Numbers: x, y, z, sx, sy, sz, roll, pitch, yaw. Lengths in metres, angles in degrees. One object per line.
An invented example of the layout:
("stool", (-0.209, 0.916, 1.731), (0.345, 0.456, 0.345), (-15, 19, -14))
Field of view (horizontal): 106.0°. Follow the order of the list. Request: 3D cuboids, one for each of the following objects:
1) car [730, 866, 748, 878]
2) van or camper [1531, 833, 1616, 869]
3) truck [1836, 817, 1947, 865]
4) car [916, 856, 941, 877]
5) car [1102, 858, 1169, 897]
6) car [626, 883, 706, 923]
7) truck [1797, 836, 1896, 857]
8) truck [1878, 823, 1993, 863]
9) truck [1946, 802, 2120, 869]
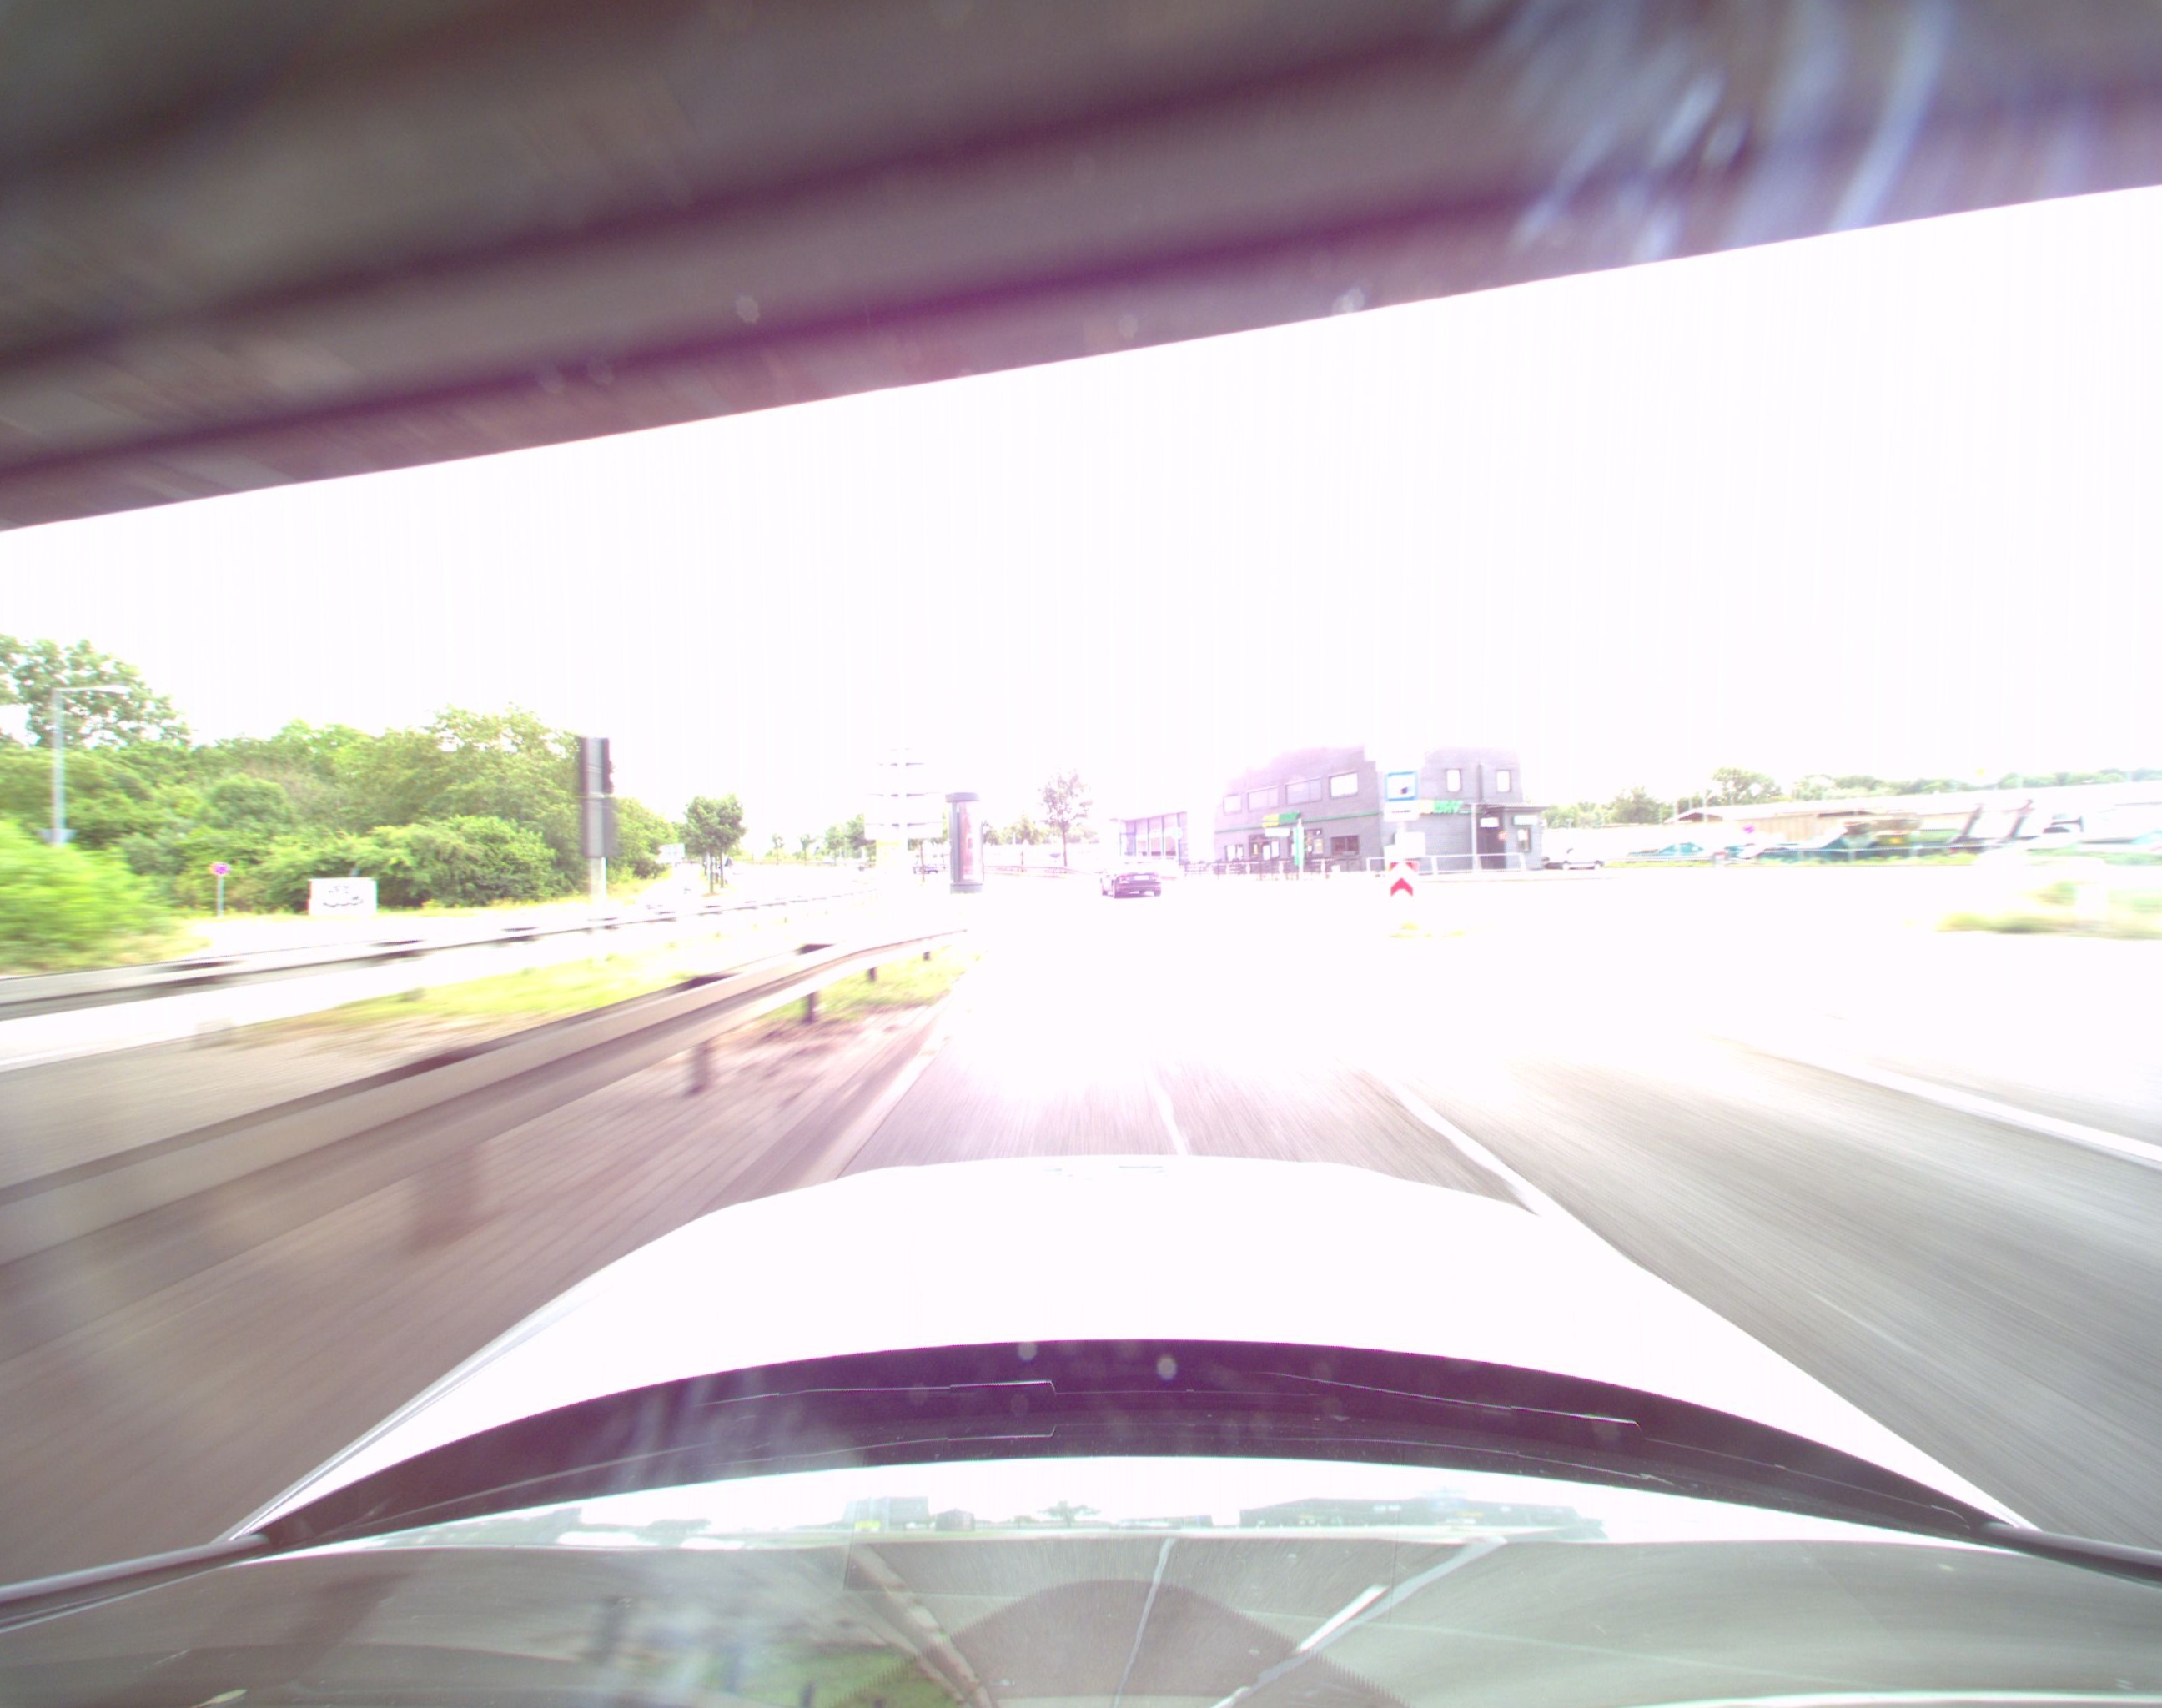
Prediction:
("car", (-44.957, 2.381, 107.253), (2.002, 1.532, 4.299), (-4, 0, -22))
("van or camper", (32.219, -0.144, 53.195), (6.269, 2.173, 2.105), (1, -2, -32))
("truck", (47.076, -0.731, 47.397), (4.310, 2.714, 2.117), (0, -2, 0))
("car", (-16.329, 1.374, 87.137), (1.999, 2.037, 4.683), (-1, -2, -18))
("car", (1.991, 0.858, 31.156), (1.989, 1.390, 4.569), (0, -1, -4))
("car", (-18.116, 2.108, 35.732), (1.750, 1.511, 3.991), (-2, -1, -6))
("truck", (46.510, -0.451, 49.562), (4.312, 1.220, 1.879), (0, -2, -2))
("truck", (46.966, -0.579, 44.814), (4.314, 2.084, 1.976), (0, -2, -3))
("truck", (48.469, -0.876, 41.582), (5.900, 3.256, 2.708), (0, -2, -3))
